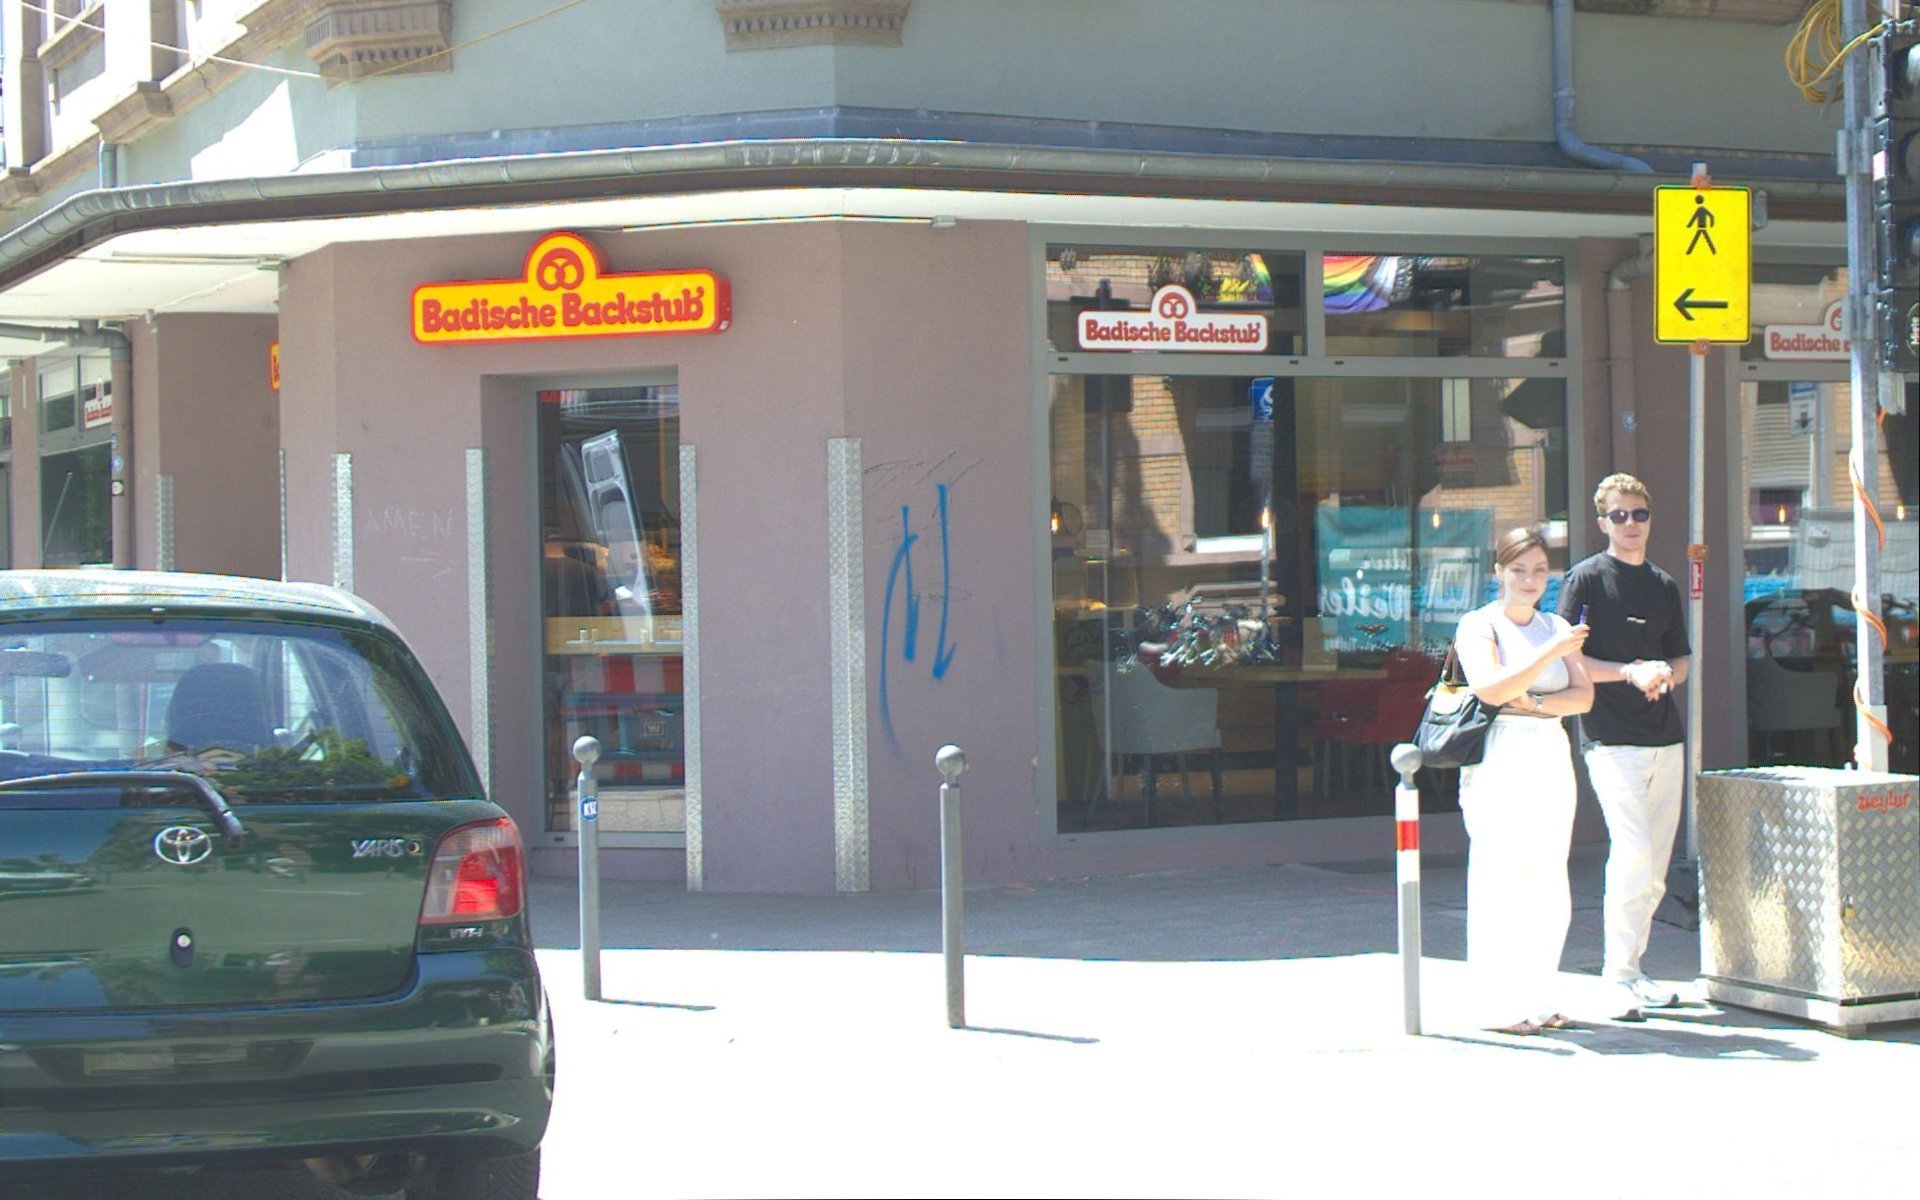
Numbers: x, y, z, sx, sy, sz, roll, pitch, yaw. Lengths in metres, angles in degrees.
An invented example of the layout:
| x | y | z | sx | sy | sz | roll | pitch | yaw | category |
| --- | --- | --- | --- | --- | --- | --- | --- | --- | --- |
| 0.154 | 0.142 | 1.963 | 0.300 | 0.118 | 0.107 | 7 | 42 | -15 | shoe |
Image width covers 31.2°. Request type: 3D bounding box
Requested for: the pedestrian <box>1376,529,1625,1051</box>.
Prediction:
| x | y | z | sx | sy | sz | roll | pitch | yaw | category |
| --- | --- | --- | --- | --- | --- | --- | --- | --- | --- |
| 1.797 | 0.608 | 11.412 | 0.701 | 1.639 | 0.423 | -4 | 5 | -32 | pedestrian |

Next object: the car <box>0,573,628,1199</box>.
| x | y | z | sx | sy | sz | roll | pitch | yaw | category |
| --- | --- | --- | --- | --- | --- | --- | --- | --- | --- |
| -2.038 | 0.695 | 8.034 | 1.613 | 1.480 | 3.241 | 0 | 0 | -23 | car |

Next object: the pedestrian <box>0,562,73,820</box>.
| x | y | z | sx | sy | sz | roll | pitch | yaw | category |
| --- | --- | --- | --- | --- | --- | --- | --- | --- | --- |
| -6.098 | 0.573 | 22.053 | 0.641 | 1.618 | 0.804 | -1 | 0 | -24 | pedestrian |

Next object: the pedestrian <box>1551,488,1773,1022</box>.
| x | y | z | sx | sy | sz | roll | pitch | yaw | category |
| --- | --- | --- | --- | --- | --- | --- | --- | --- | --- |
| 2.418 | 0.511 | 11.839 | 0.575 | 1.762 | 0.471 | -4 | 5 | -32 | pedestrian |
